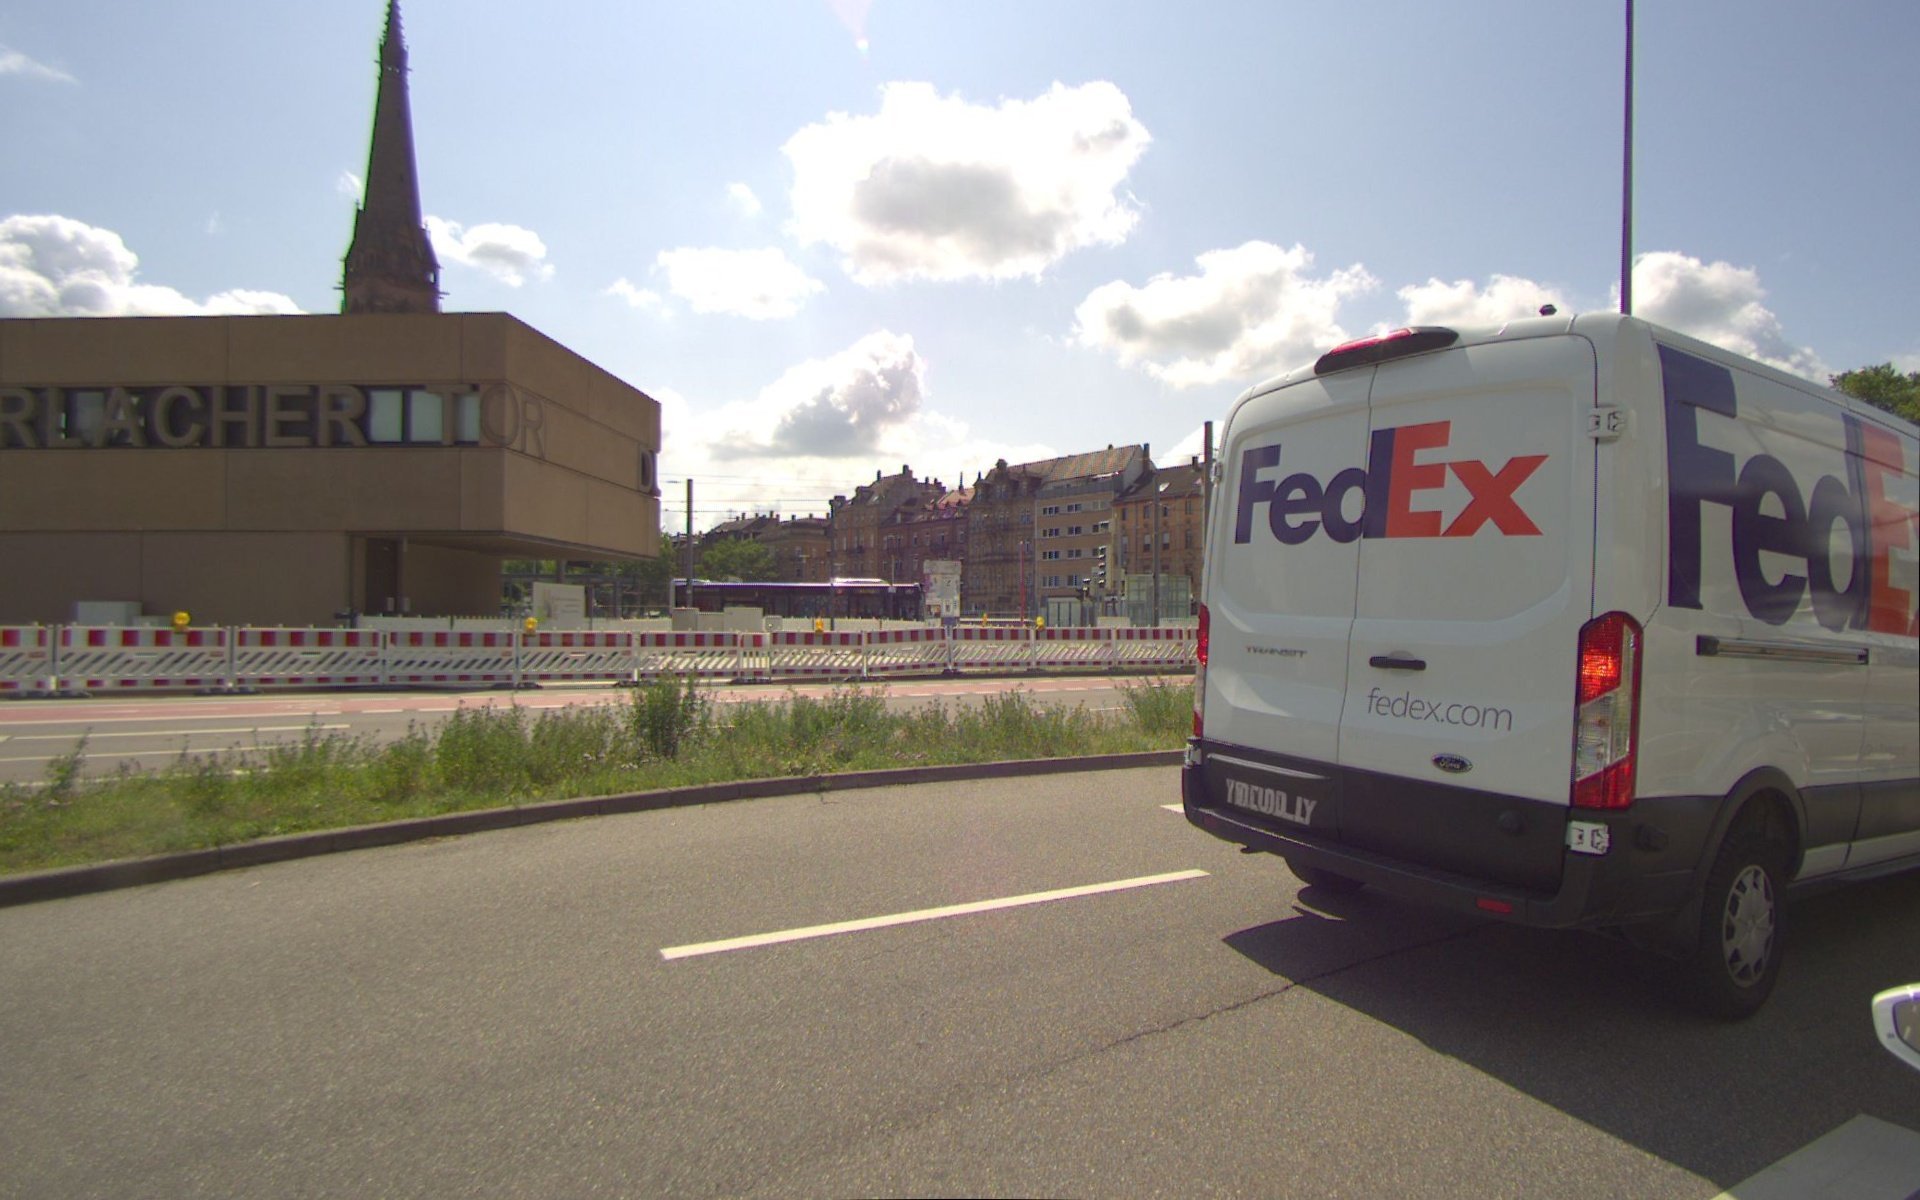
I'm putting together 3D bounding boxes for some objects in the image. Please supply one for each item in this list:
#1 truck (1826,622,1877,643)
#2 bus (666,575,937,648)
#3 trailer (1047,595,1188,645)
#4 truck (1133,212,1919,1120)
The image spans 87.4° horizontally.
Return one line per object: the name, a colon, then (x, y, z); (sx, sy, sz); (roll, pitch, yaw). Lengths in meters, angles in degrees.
truck: (89.530, 3.255, 100.919); (4.705, 2.148, 1.802); (1, -1, -20)
bus: (-7.198, 0.525, 46.365); (12.020, 2.897, 2.596); (2, -1, 4)
trailer: (13.638, 1.637, 88.929); (2.686, 4.022, 13.880); (2, -1, -40)
truck: (3.873, 0.265, 5.436); (5.852, 2.675, 2.125); (2, 0, -32)
